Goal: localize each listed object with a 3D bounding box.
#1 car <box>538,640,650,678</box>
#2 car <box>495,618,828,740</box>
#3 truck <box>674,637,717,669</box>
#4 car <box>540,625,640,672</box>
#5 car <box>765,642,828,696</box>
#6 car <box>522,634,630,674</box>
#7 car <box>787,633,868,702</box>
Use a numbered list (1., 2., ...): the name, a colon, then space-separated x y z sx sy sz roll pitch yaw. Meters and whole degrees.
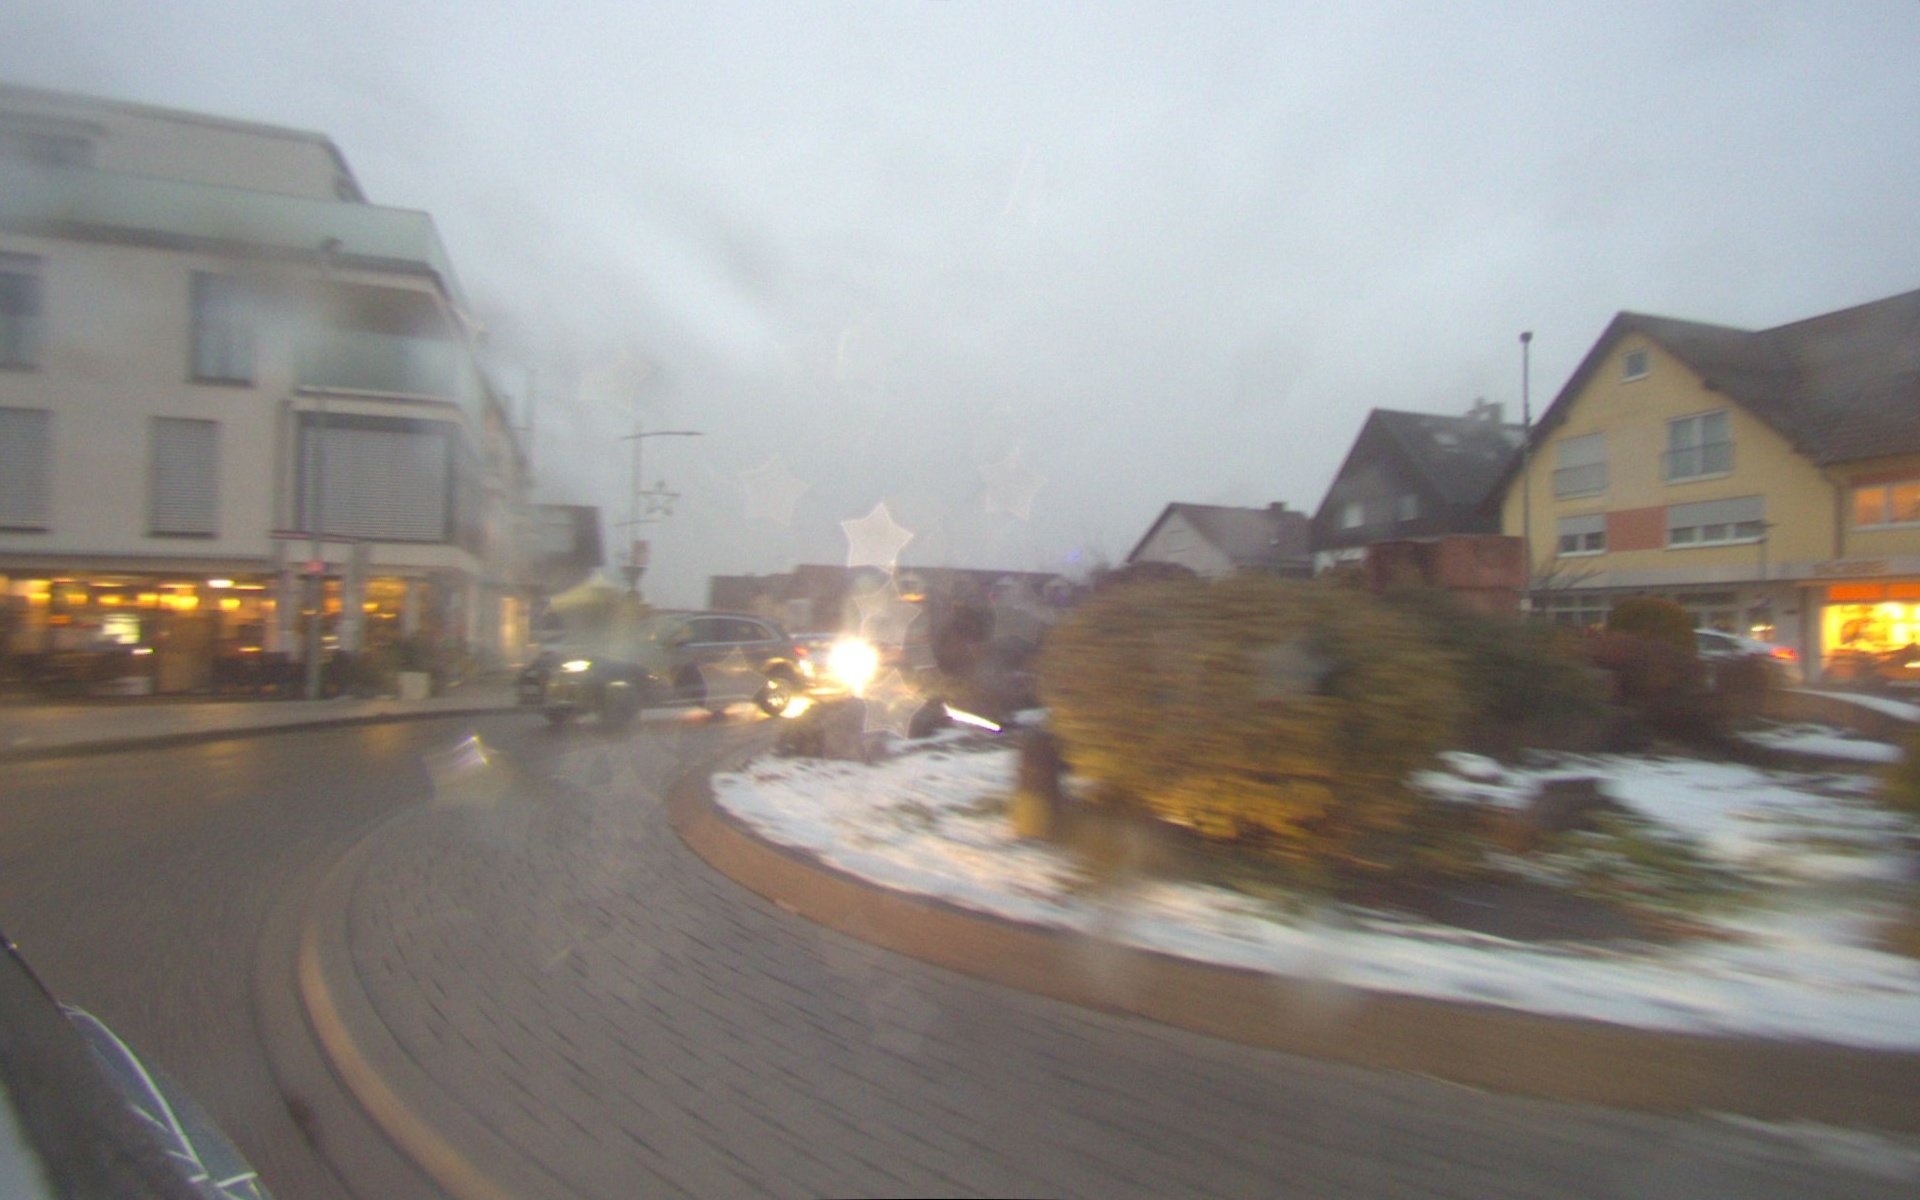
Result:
1. car: -15.994 2.615 44.259 4.444 1.504 1.981 2 -5 -22
2. car: -4.474 1.122 15.653 1.955 1.605 4.565 -5 -4 44
3. truck: -19.426 3.860 74.172 2.210 2.247 6.124 1 -3 -22
4. car: -18.688 2.464 51.189 4.476 1.948 1.981 6 -5 -20
5. car: -5.416 2.197 33.181 1.654 1.636 4.011 0 -2 -14
6. car: -15.733 2.207 41.458 3.931 1.515 1.819 3 -3 -26
7. car: -3.311 1.687 25.799 1.860 1.591 4.005 1 -3 -6
